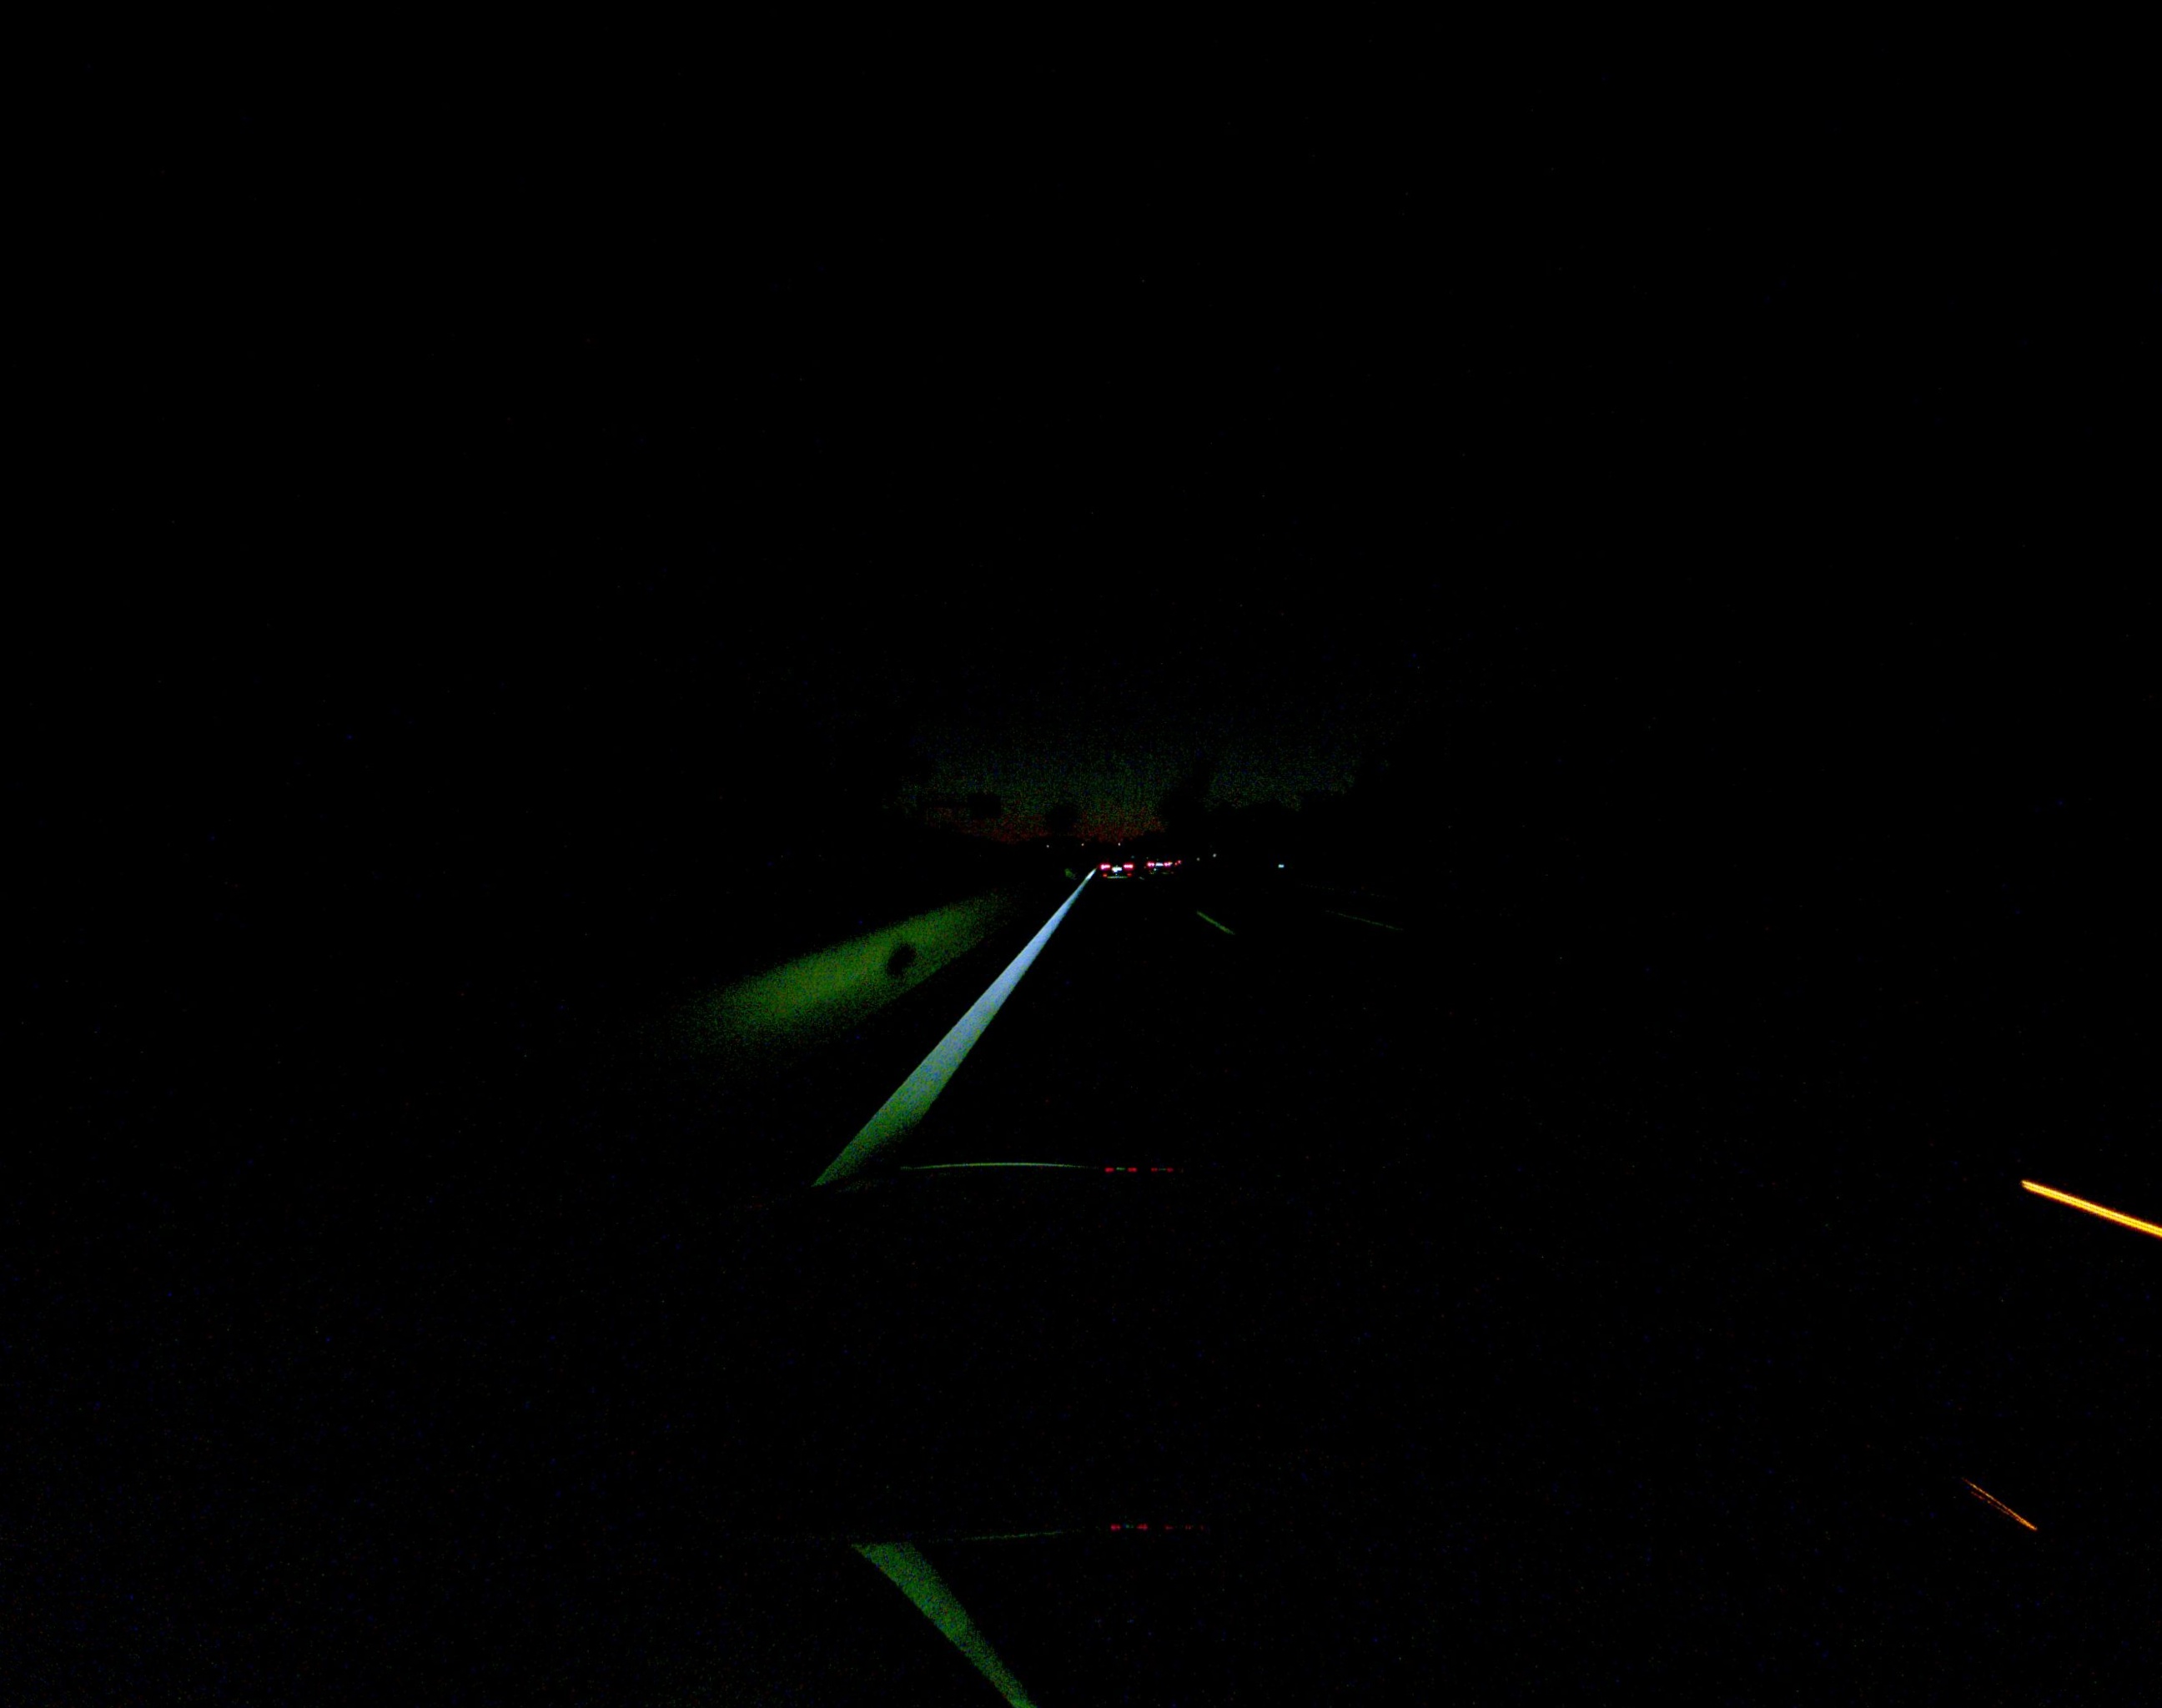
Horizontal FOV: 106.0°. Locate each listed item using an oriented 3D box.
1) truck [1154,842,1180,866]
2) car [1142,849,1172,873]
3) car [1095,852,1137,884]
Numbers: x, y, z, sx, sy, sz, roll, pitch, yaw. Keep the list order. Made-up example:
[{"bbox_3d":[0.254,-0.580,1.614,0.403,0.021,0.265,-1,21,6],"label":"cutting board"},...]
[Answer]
[{"bbox_3d":[11.328,-0.029,107.465,2.594,2.875,7.486,4,0,1],"label":"truck"},{"bbox_3d":[5.710,0.539,61.611,1.905,1.730,3.999,0,-1,0],"label":"car"},{"bbox_3d":[1.866,0.745,44.342,2.099,1.618,4.204,1,0,0],"label":"car"}]
